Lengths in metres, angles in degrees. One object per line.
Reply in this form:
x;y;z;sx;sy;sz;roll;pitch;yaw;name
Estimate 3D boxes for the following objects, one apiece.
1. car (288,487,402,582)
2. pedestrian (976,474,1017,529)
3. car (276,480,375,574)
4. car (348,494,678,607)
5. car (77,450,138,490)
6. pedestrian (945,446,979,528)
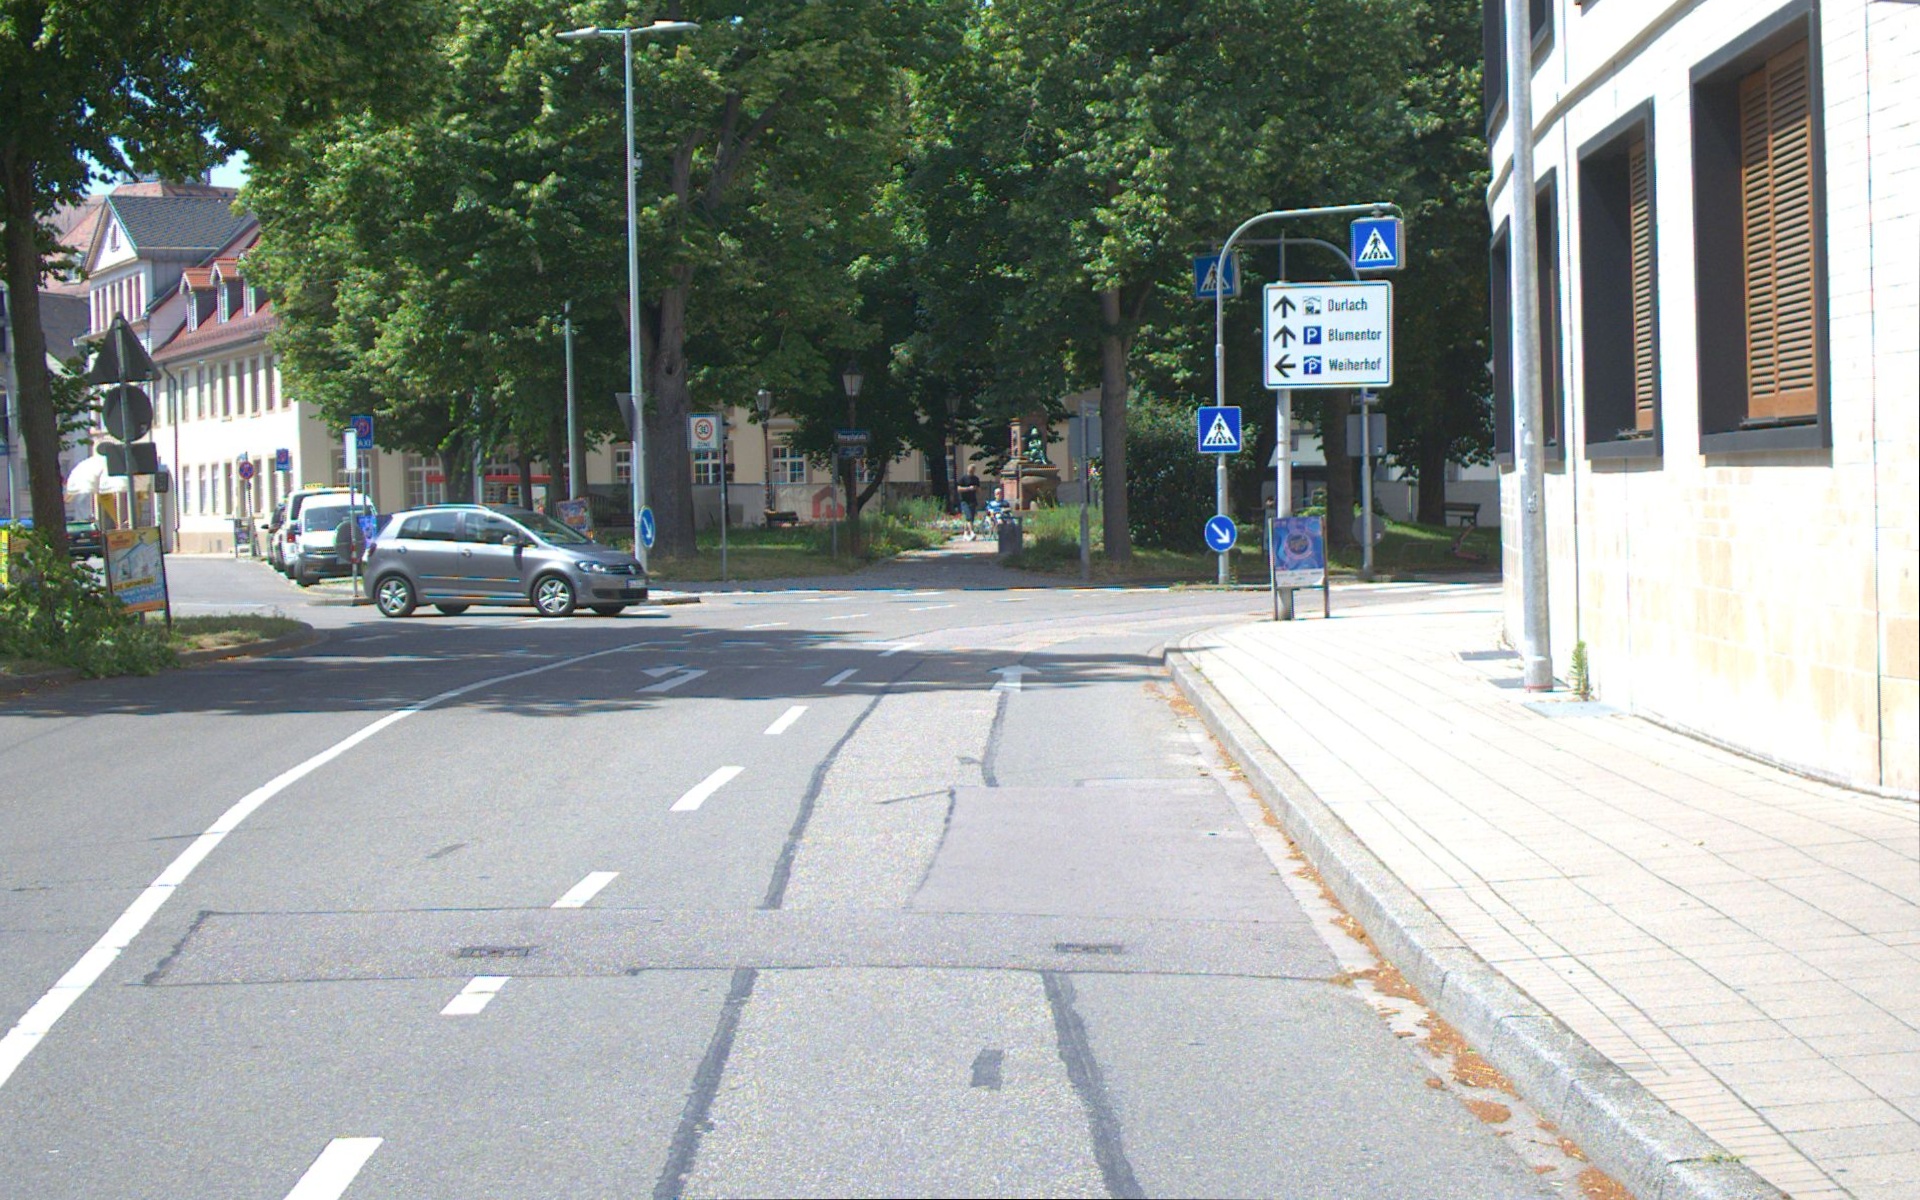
-12.513;-1.356;69.738;1.993;1.820;4.424;-2;2;-13;car
0.858;-2.315;80.640;0.906;1.247;1.148;-1;3;3;pedestrian
-14.387;-1.688;77.795;2.049;1.995;5.251;-2;2;-12;car
-6.340;-0.709;48.838;4.234;1.528;1.908;0;2;21;car
-32.912;-5.005;132.649;1.860;1.481;4.001;-2;2;-19;car
0.057;-2.683;81.442;0.748;1.904;0.684;-1;3;3;pedestrian
